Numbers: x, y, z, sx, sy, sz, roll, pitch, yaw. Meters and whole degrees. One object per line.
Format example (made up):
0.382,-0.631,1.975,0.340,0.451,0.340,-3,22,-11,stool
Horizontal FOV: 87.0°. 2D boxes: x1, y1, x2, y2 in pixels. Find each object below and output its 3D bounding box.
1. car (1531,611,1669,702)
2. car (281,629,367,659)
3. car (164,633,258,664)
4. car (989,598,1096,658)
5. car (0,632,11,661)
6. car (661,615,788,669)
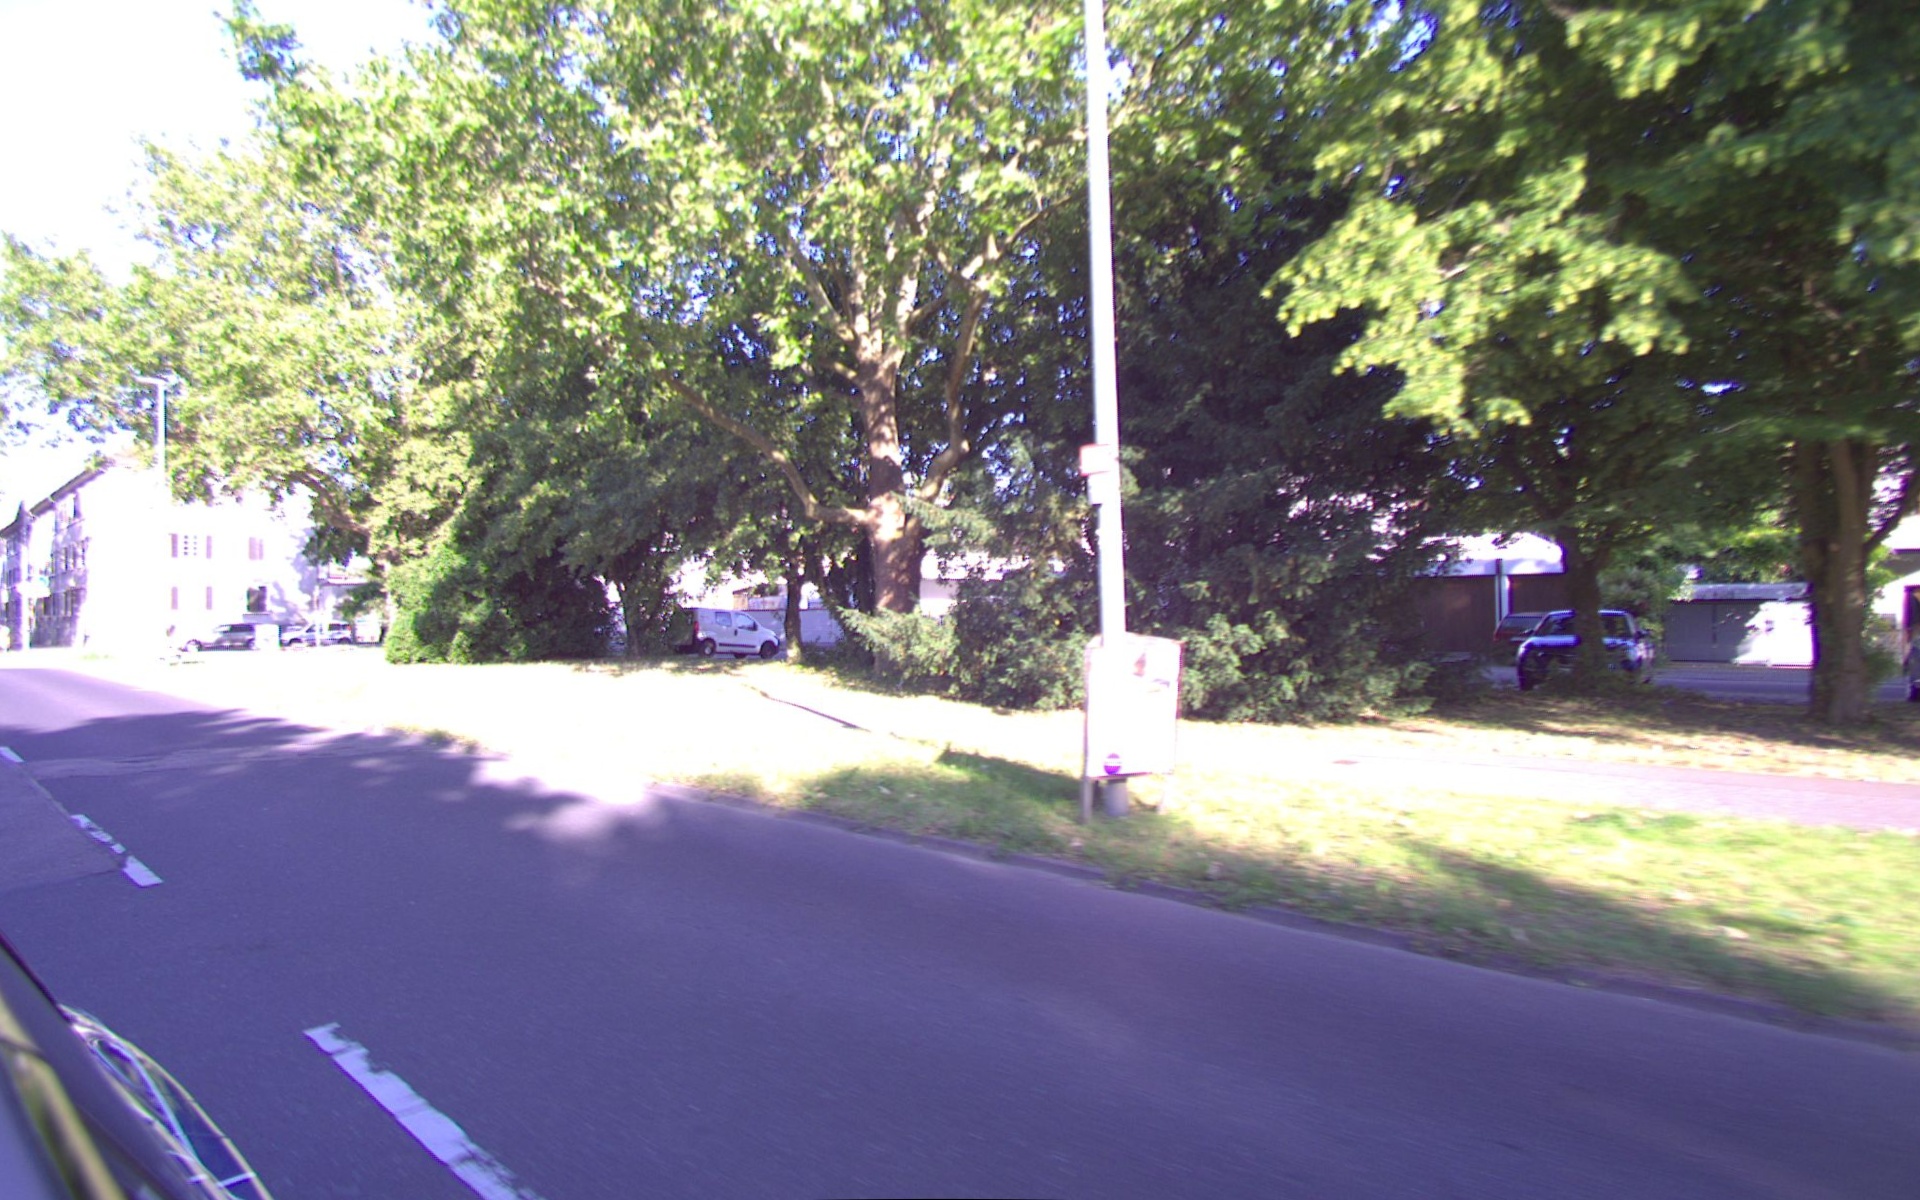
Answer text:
11.107,0.899,17.458,1.690,1.392,3.893,-2,-2,37,car
-35.211,2.439,56.052,3.934,1.573,1.869,2,-2,-35,car
-39.288,2.522,53.192,3.934,1.429,1.919,0,-1,-36,car
3.344,1.099,40.614,2.001,2.306,4.266,-2,-2,44,car
-52.181,2.535,54.234,4.109,1.494,1.741,-2,0,44,car
-7.867,1.395,34.104,1.725,1.697,3.948,-1,-3,38,car
